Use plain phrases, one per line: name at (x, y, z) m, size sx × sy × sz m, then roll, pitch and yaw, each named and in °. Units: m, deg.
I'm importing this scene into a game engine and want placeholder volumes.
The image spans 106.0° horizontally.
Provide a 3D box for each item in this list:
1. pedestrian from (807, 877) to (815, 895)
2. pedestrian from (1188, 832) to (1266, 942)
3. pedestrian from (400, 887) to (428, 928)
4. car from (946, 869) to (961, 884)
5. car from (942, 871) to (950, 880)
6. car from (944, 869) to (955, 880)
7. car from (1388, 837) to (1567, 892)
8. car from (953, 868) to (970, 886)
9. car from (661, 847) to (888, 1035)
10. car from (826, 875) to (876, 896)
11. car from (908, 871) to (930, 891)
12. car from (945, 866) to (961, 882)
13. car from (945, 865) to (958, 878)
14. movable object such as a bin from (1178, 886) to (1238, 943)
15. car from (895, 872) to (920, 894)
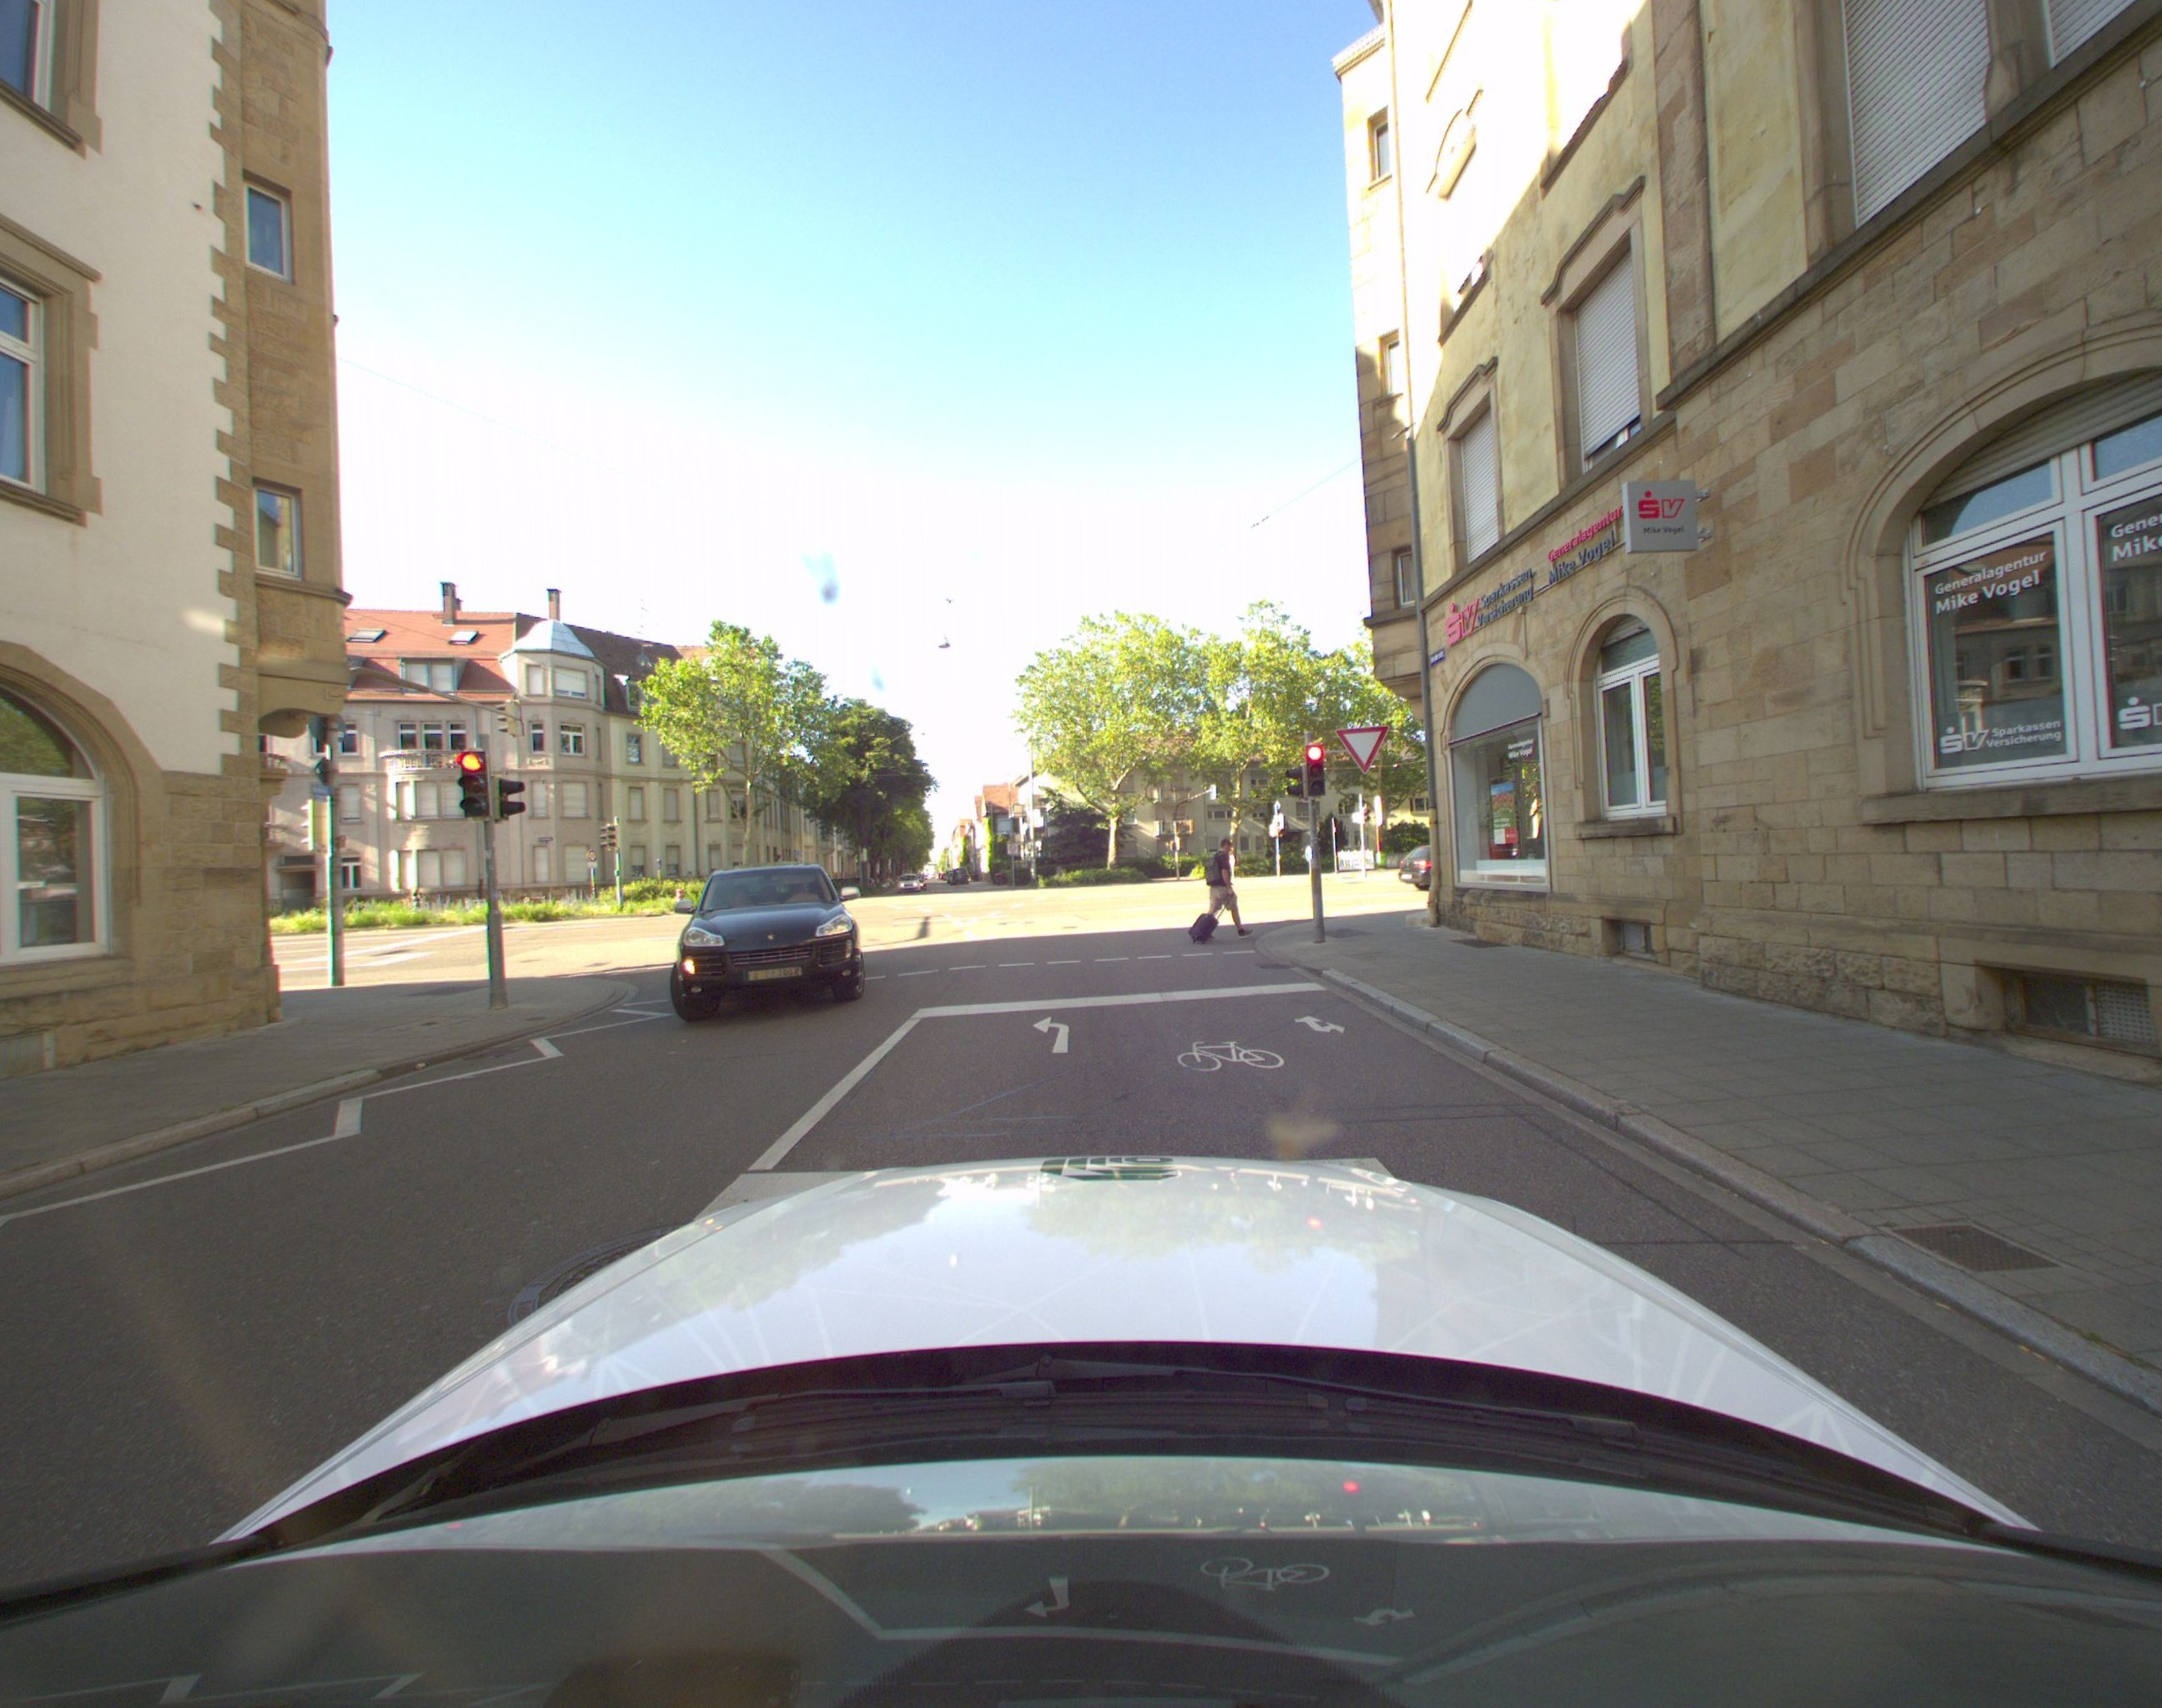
pedestrian at (-21.915, 2.583, 66.093) m, size 0.489 × 1.442 × 0.702 m, roll 0°, pitch -1°, yaw -13°
pedestrian at (2.605, 0.569, 14.599) m, size 1.067 × 1.848 × 0.745 m, roll -3°, pitch 0°, yaw -14°
pedestrian at (-33.743, 2.683, 41.186) m, size 0.836 × 2.014 × 0.749 m, roll 0°, pitch -1°, yaw -15°
car at (-18.236, 3.151, 116.560) m, size 1.993 × 2.014 × 3.987 m, roll 0°, pitch -1°, yaw -9°
car at (-30.122, 4.806, 181.745) m, size 1.773 × 1.918 × 3.522 m, roll -4°, pitch 0°, yaw -10°
car at (-23.747, 3.699, 147.202) m, size 1.773 × 1.918 × 3.522 m, roll -4°, pitch 0°, yaw -10°
car at (12.071, 0.320, 25.017) m, size 4.597 × 1.456 × 1.732 m, roll -2°, pitch 0°, yaw 3°
car at (-13.950, 2.694, 95.031) m, size 1.773 × 1.918 × 3.522 m, roll -4°, pitch 0°, yaw -10°
car at (-4.016, 0.921, 10.461) m, size 2.082 × 1.694 × 4.670 m, roll -4°, pitch 0°, yaw -24°
car at (-17.948, 2.466, 63.731) m, size 3.636 × 1.457 × 1.650 m, roll -2°, pitch 0°, yaw -14°
car at (-13.917, 2.318, 70.027) m, size 1.698 × 1.483 × 3.522 m, roll -4°, pitch 0°, yaw -10°
car at (-16.561, 2.546, 105.221) m, size 1.773 × 1.918 × 3.522 m, roll -4°, pitch 0°, yaw -10°
car at (-20.339, 2.786, 128.300) m, size 1.993 × 2.014 × 3.987 m, roll 0°, pitch -1°, yaw -9°
movable object such as a bin at (2.174, 1.023, 13.986) m, size 0.862 × 0.892 × 0.507 m, roll -3°, pitch 0°, yaw -11°
car at (-13.591, 2.263, 63.835) m, size 1.698 × 1.483 × 3.522 m, roll -4°, pitch 0°, yaw -10°
